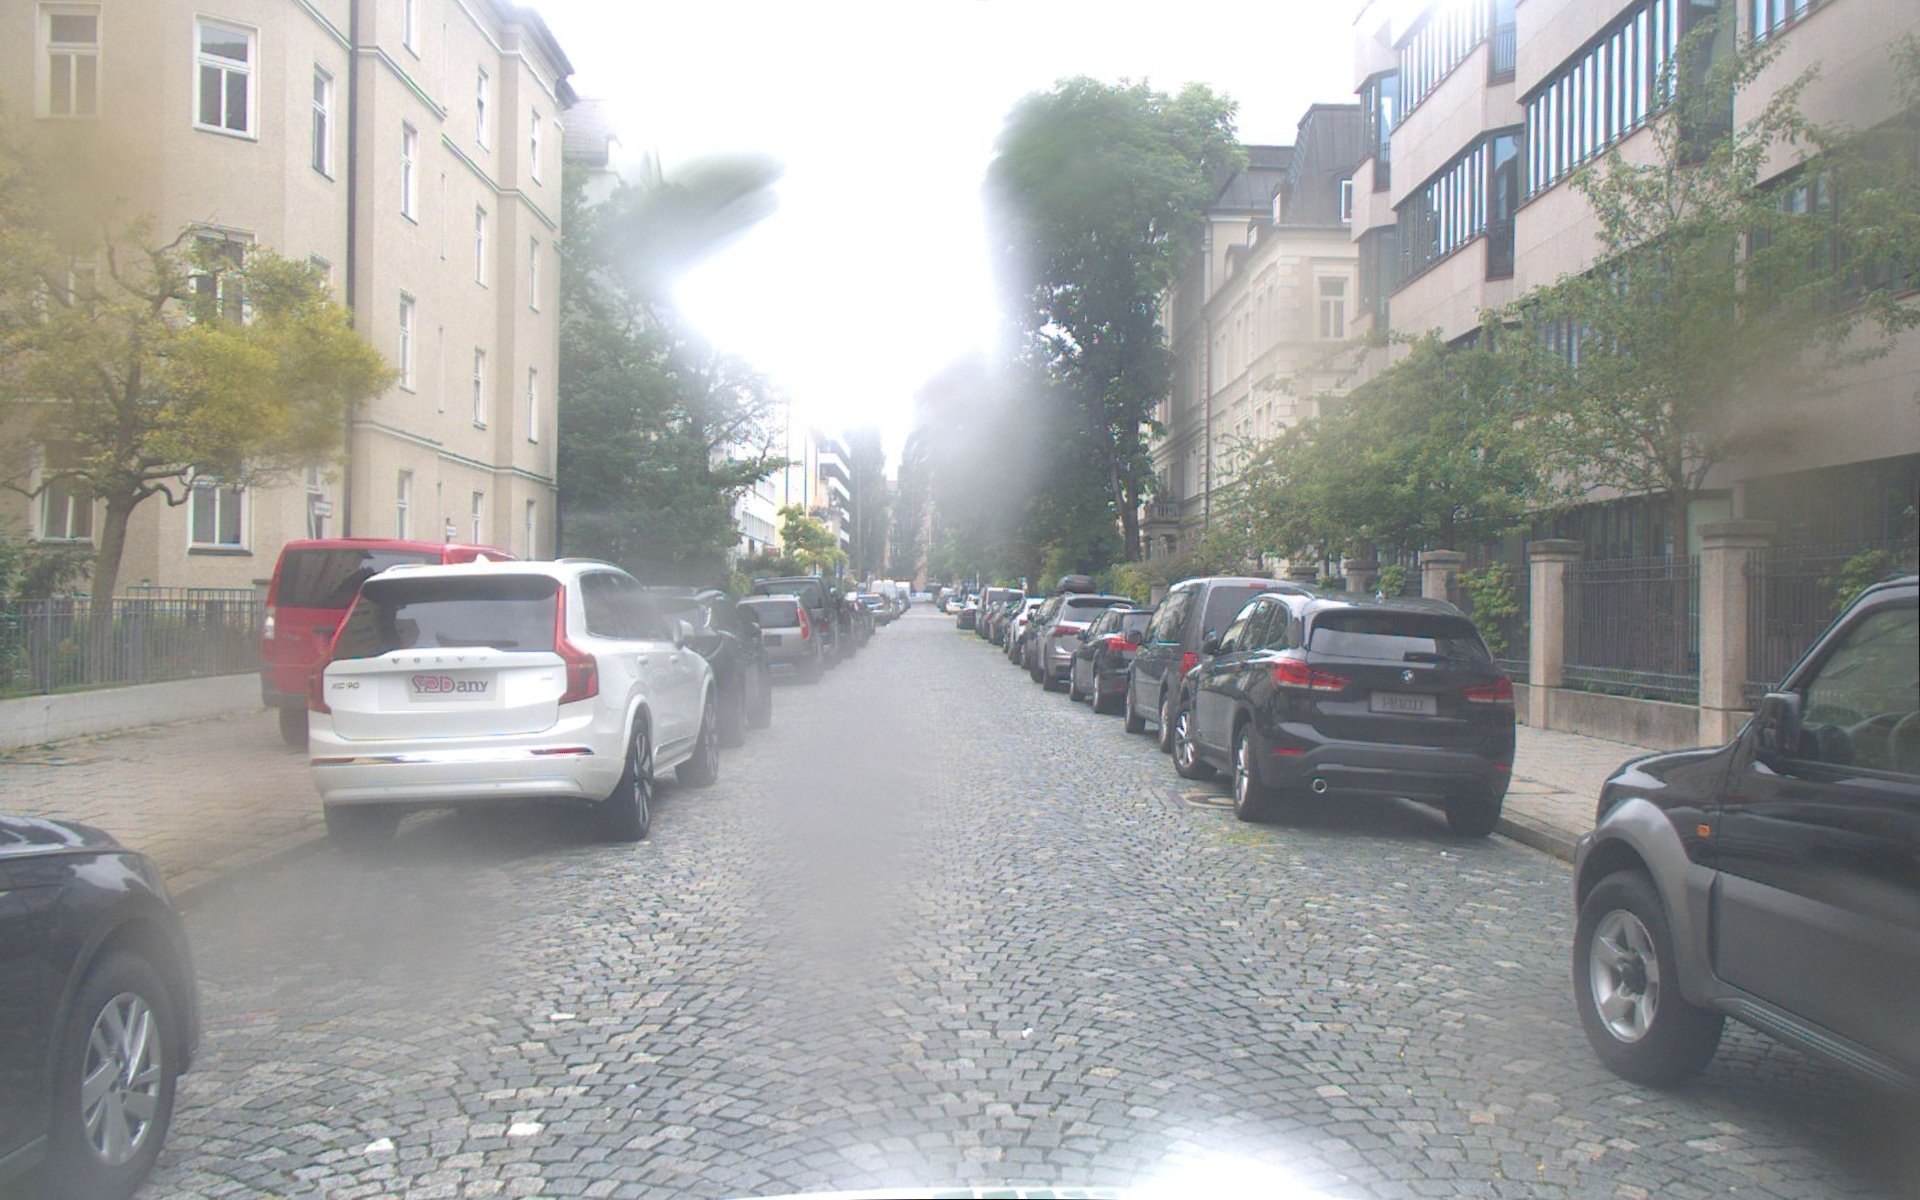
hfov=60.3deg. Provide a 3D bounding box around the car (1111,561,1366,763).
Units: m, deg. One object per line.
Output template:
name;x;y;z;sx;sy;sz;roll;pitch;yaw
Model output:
car;2.909;0.591;18.263;1.753;1.827;4.507;4;0;-3

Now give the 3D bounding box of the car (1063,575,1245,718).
car;2.711;0.608;24.184;1.836;1.765;4.657;4;0;-2

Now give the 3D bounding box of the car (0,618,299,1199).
car;-2.768;0.809;2.878;1.695;1.443;3.935;-2;0;-1

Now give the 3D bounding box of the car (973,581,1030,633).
car;1.650;0.264;67.797;1.836;1.962;5.161;3;0;-3

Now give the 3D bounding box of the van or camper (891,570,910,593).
van or camper;-7.379;-2.270;204.862;2.210;2.790;5.097;1;0;-1

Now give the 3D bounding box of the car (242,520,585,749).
car;-5.444;0.298;17.329;1.954;1.965;5.328;2;0;-2

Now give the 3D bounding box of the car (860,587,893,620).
car;-5.009;0.198;99.904;1.836;1.807;4.121;-3;0;-2

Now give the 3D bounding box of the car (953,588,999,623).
car;0.755;0.253;79.805;1.836;1.529;4.508;3;0;-3

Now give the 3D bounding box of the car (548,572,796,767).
car;-3.025;0.668;18.391;1.878;1.765;4.755;-4;0;-1

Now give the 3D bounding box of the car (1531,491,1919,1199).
car;3.074;0.670;4.341;1.586;1.781;3.885;3;0;-3

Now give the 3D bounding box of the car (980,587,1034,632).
car;1.743;0.333;62.196;1.800;1.516;4.421;3;0;0

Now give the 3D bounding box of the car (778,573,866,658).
car;-3.508;0.370;42.837;1.953;1.950;5.175;-3;0;-2

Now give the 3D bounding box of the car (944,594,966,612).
car;-0.442;0.259;141.450;1.753;1.547;3.999;1;0;-1

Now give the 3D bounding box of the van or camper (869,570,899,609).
van or camper;-5.481;-0.751;120.332;1.953;2.698;3.999;-2;0;-1

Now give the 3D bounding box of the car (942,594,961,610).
car;-0.854;0.175;162.066;1.753;1.547;3.999;1;0;-1

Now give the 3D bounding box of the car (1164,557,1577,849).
car;2.889;0.645;12.821;1.823;1.731;4.812;3;0;-1

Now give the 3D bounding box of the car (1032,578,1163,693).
car;2.332;0.574;29.143;1.835;1.765;4.891;2;0;0

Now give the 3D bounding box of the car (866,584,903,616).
car;-3.990;-0.011;87.361;1.836;1.607;4.252;-2;0;-3

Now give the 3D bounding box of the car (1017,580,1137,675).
car;2.403;0.537;35.097;1.836;1.765;4.744;4;0;-4

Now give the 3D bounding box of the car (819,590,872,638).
car;-3.722;0.438;53.591;1.629;1.469;4.168;-1;0;-4

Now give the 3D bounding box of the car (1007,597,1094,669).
car;2.137;0.763;40.224;1.835;1.516;4.617;3;1;0

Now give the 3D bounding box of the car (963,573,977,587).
car;1.475;-2.917;244.582;1.953;2.049;3.999;1;0;-1

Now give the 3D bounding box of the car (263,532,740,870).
car;-2.907;0.555;11.828;1.965;1.840;5.174;-1;0;0

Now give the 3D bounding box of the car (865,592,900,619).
car;-4.923;0.328;105.393;1.834;1.607;4.209;3;0;2

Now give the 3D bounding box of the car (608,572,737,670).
car;-5.797;0.399;33.873;1.906;1.765;4.655;3;0;-2

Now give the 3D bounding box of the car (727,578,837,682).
car;-3.309;0.517;31.435;1.828;1.765;4.400;-2;0;-4

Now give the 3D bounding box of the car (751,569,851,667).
car;-3.420;0.355;36.286;1.835;1.950;4.825;-2;0;-2
